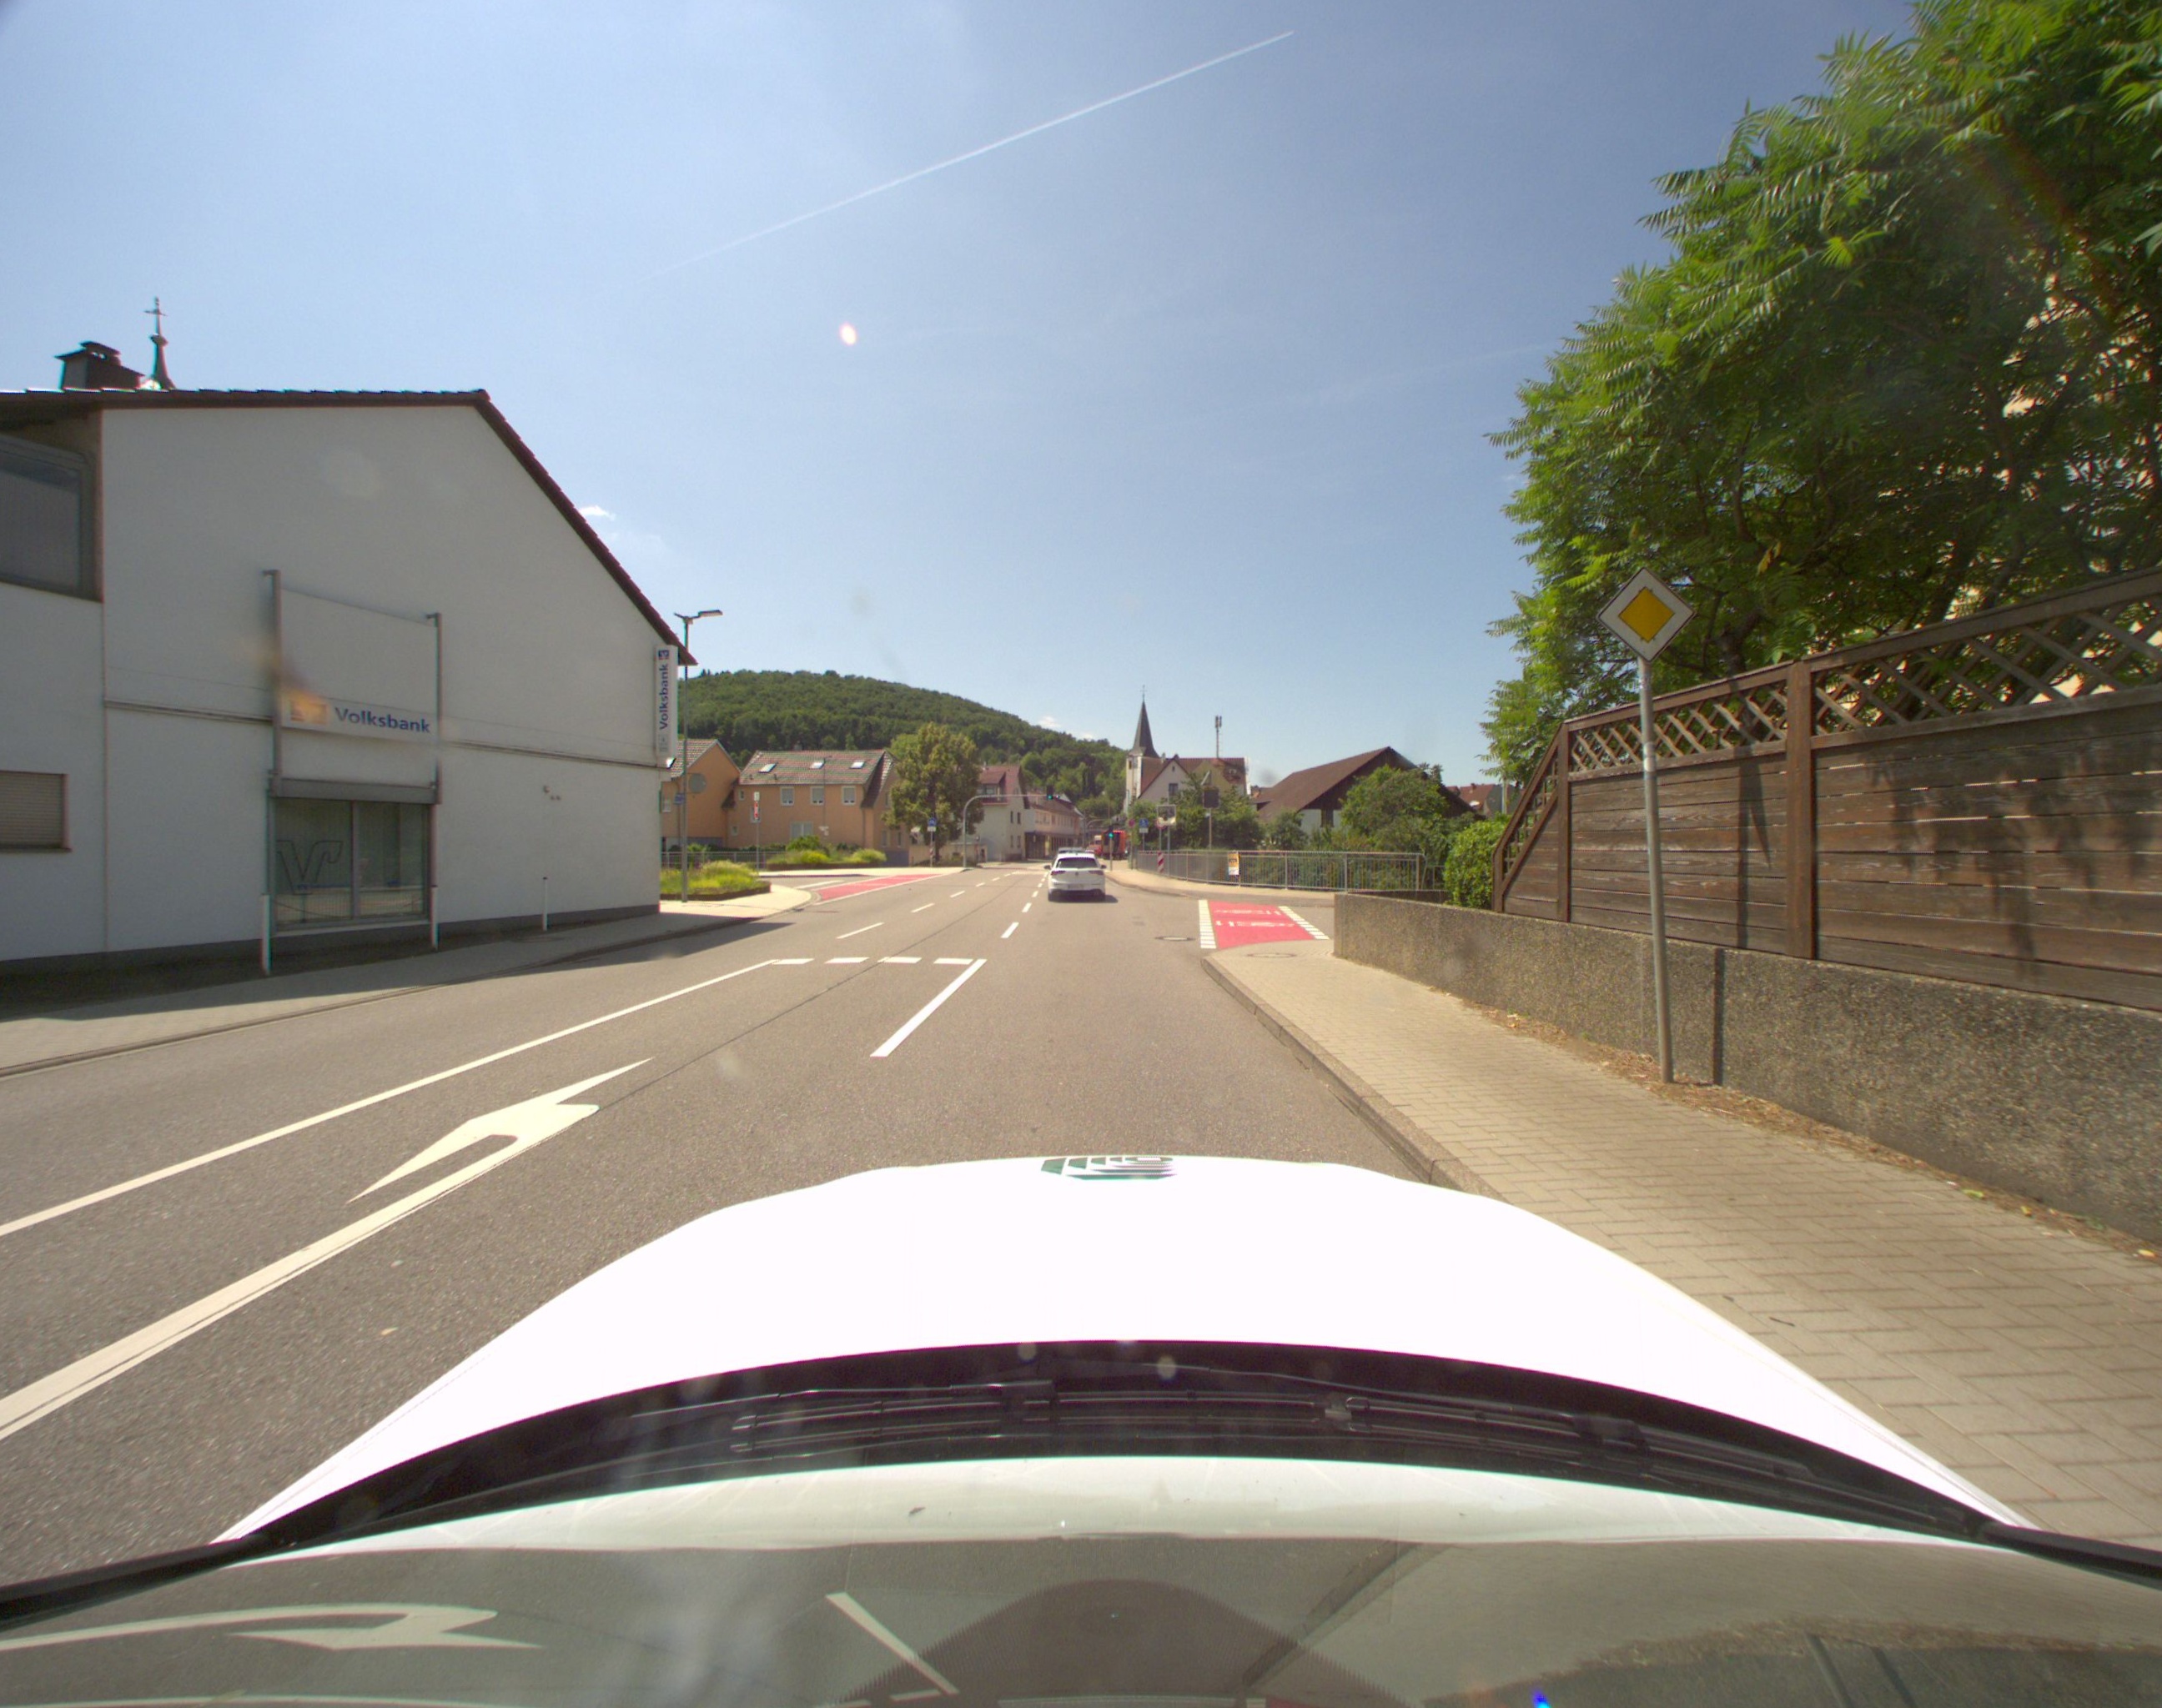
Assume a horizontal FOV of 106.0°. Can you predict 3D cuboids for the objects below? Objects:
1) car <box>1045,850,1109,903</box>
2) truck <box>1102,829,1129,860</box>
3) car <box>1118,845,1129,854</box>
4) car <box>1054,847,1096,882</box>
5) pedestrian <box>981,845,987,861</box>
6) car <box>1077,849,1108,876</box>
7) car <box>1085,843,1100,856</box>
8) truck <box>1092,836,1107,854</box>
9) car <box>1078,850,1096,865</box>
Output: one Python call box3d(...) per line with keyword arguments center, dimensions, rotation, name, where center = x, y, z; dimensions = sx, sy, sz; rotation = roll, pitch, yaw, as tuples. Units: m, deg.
box3d(center=(-0.036, 0.655, 25.924), dimensions=(1.808, 1.519, 4.002), rotation=(1, 0, 2), name="car")
box3d(center=(4.952, -1.273, 115.586), dimensions=(3.351, 4.170, 9.531), rotation=(-1, 0, 5), name="truck")
box3d(center=(6.837, -0.707, 130.925), dimensions=(1.808, 1.519, 4.002), rotation=(-1, 0, 2), name="car")
box3d(center=(-0.261, 0.493, 39.953), dimensions=(1.808, 1.629, 4.002), rotation=(-1, 0, 2), name="car")
box3d(center=(-10.270, -0.103, 86.206), dimensions=(0.430, 1.764, 0.560), rotation=(0, 0, 21), name="pedestrian")
box3d(center=(0.779, 0.544, 52.030), dimensions=(1.808, 1.629, 4.002), rotation=(-1, 0, 2), name="car")
box3d(center=(1.751, -0.653, 119.685), dimensions=(1.985, 1.705, 4.315), rotation=(-1, 0, 2), name="car")
box3d(center=(3.577, -1.744, 155.525), dimensions=(2.490, 3.235, 6.048), rotation=(-1, 0, 5), name="truck")
box3d(center=(0.698, 0.377, 88.046), dimensions=(1.808, 1.519, 4.002), rotation=(-1, 0, 2), name="car")
